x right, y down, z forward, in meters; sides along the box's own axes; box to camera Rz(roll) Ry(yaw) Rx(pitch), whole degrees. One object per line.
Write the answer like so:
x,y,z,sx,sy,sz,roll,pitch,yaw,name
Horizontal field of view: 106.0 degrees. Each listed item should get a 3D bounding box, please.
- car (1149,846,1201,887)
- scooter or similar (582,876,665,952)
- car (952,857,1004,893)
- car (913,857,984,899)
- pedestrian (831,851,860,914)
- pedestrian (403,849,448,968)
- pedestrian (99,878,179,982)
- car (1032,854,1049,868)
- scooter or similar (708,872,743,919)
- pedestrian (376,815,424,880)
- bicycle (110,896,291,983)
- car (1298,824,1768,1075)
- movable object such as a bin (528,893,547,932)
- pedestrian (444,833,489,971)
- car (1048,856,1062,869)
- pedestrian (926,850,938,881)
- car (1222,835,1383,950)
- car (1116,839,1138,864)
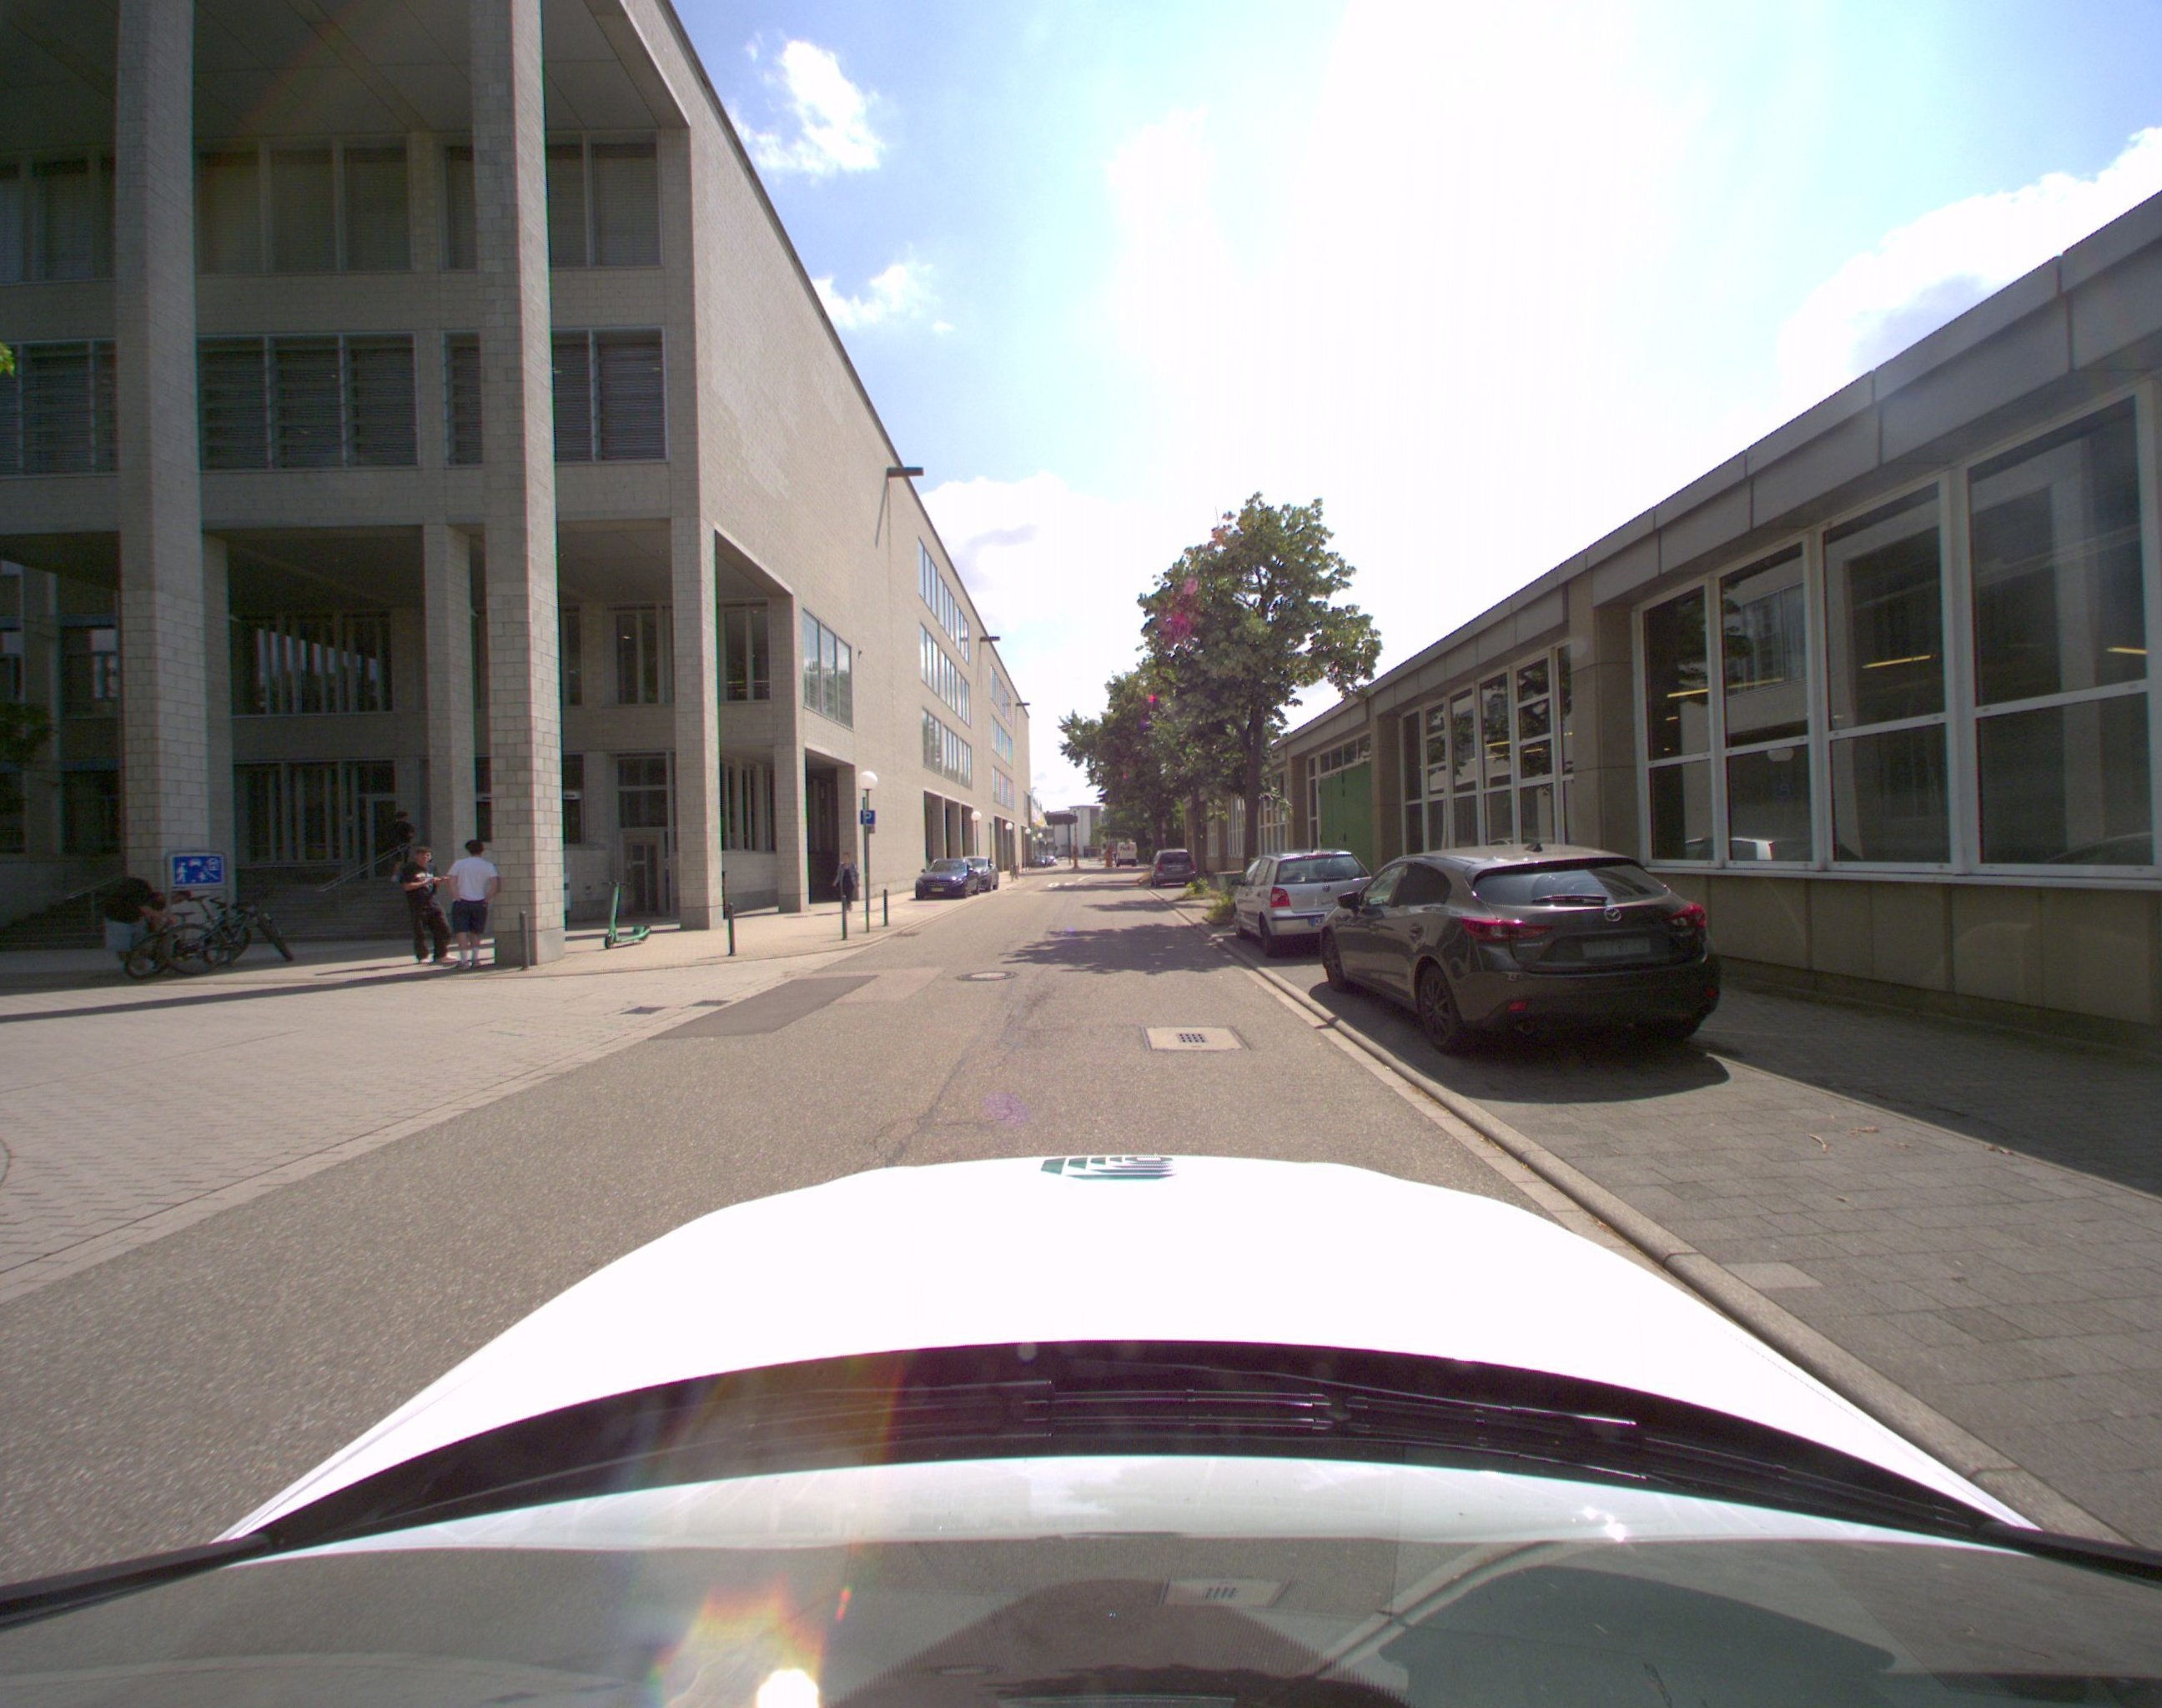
3.990,0.505,35.198,1.851,1.574,4.002,-3,0,2,car
-8.059,1.026,14.408,0.452,1.223,1.551,-2,0,5,scooter or similar
-4.519,0.896,36.141,1.625,1.485,4.179,-2,0,2,car
-4.918,0.850,30.758,1.759,1.427,4.237,-2,0,3,car
-6.562,0.779,22.716,0.649,1.701,0.886,-1,0,-9,pedestrian
-10.080,0.820,12.531,0.444,1.775,0.447,-1,0,-29,pedestrian
-13.278,1.064,11.492,0.466,1.383,0.442,-3,3,-9,pedestrian
-4.781,0.833,96.054,1.640,1.498,3.729,-2,-2,1,car
-9.643,1.091,22.055,0.529,1.210,1.541,-1,0,-36,scooter or similar
-17.653,-0.170,21.115,0.628,1.661,0.697,-1,0,14,pedestrian
-12.788,1.208,11.922,0.463,1.014,1.867,0,2,5,bicycle
3.423,0.596,7.335,1.774,1.476,4.463,-3,0,1,car
-12.967,1.401,19.428,0.168,0.895,0.448,-2,0,-4,movable object such as a bin
-8.953,0.680,11.878,0.415,1.942,0.657,-1,0,-28,pedestrian
-3.474,1.122,107.827,1.640,1.498,3.729,-2,-2,1,car
-8.989,0.709,49.234,0.509,1.841,0.735,-2,-2,0,pedestrian
3.360,0.525,13.046,1.610,1.538,3.781,-2,0,2,car
4.856,-0.220,86.042,2.076,2.539,4.316,-1,0,1,car
